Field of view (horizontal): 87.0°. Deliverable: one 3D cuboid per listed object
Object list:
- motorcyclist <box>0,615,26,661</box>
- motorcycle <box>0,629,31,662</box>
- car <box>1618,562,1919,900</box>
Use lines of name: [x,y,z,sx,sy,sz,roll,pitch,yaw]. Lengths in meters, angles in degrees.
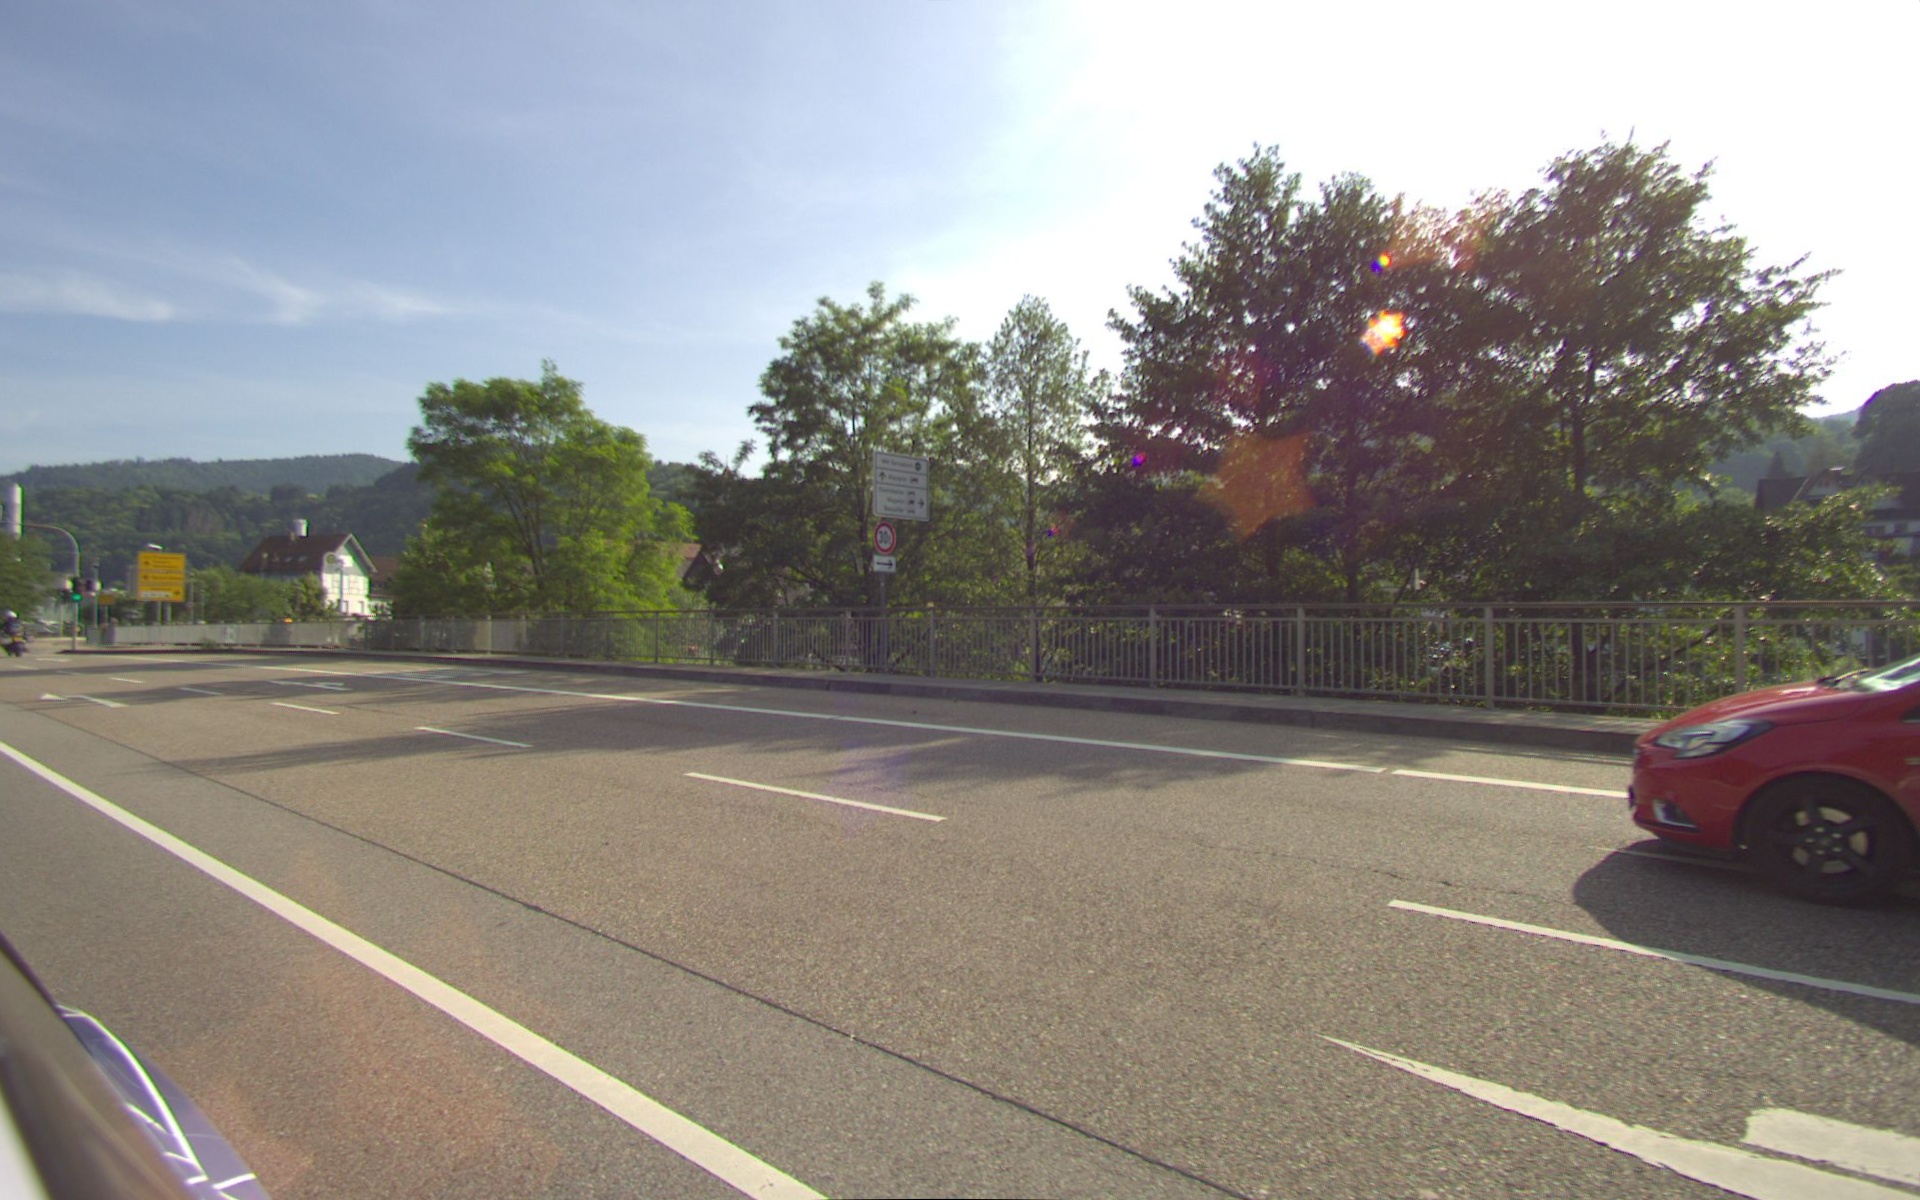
motorcyclist: [-38.188,1.536,40.641,1.170,1.798,0.836,-2,-1,40]
motorcycle: [-38.154,1.815,40.624,2.570,1.230,0.962,-2,-1,40]
car: [5.458,0.561,4.350,4.201,1.471,1.657,-1,0,43]
